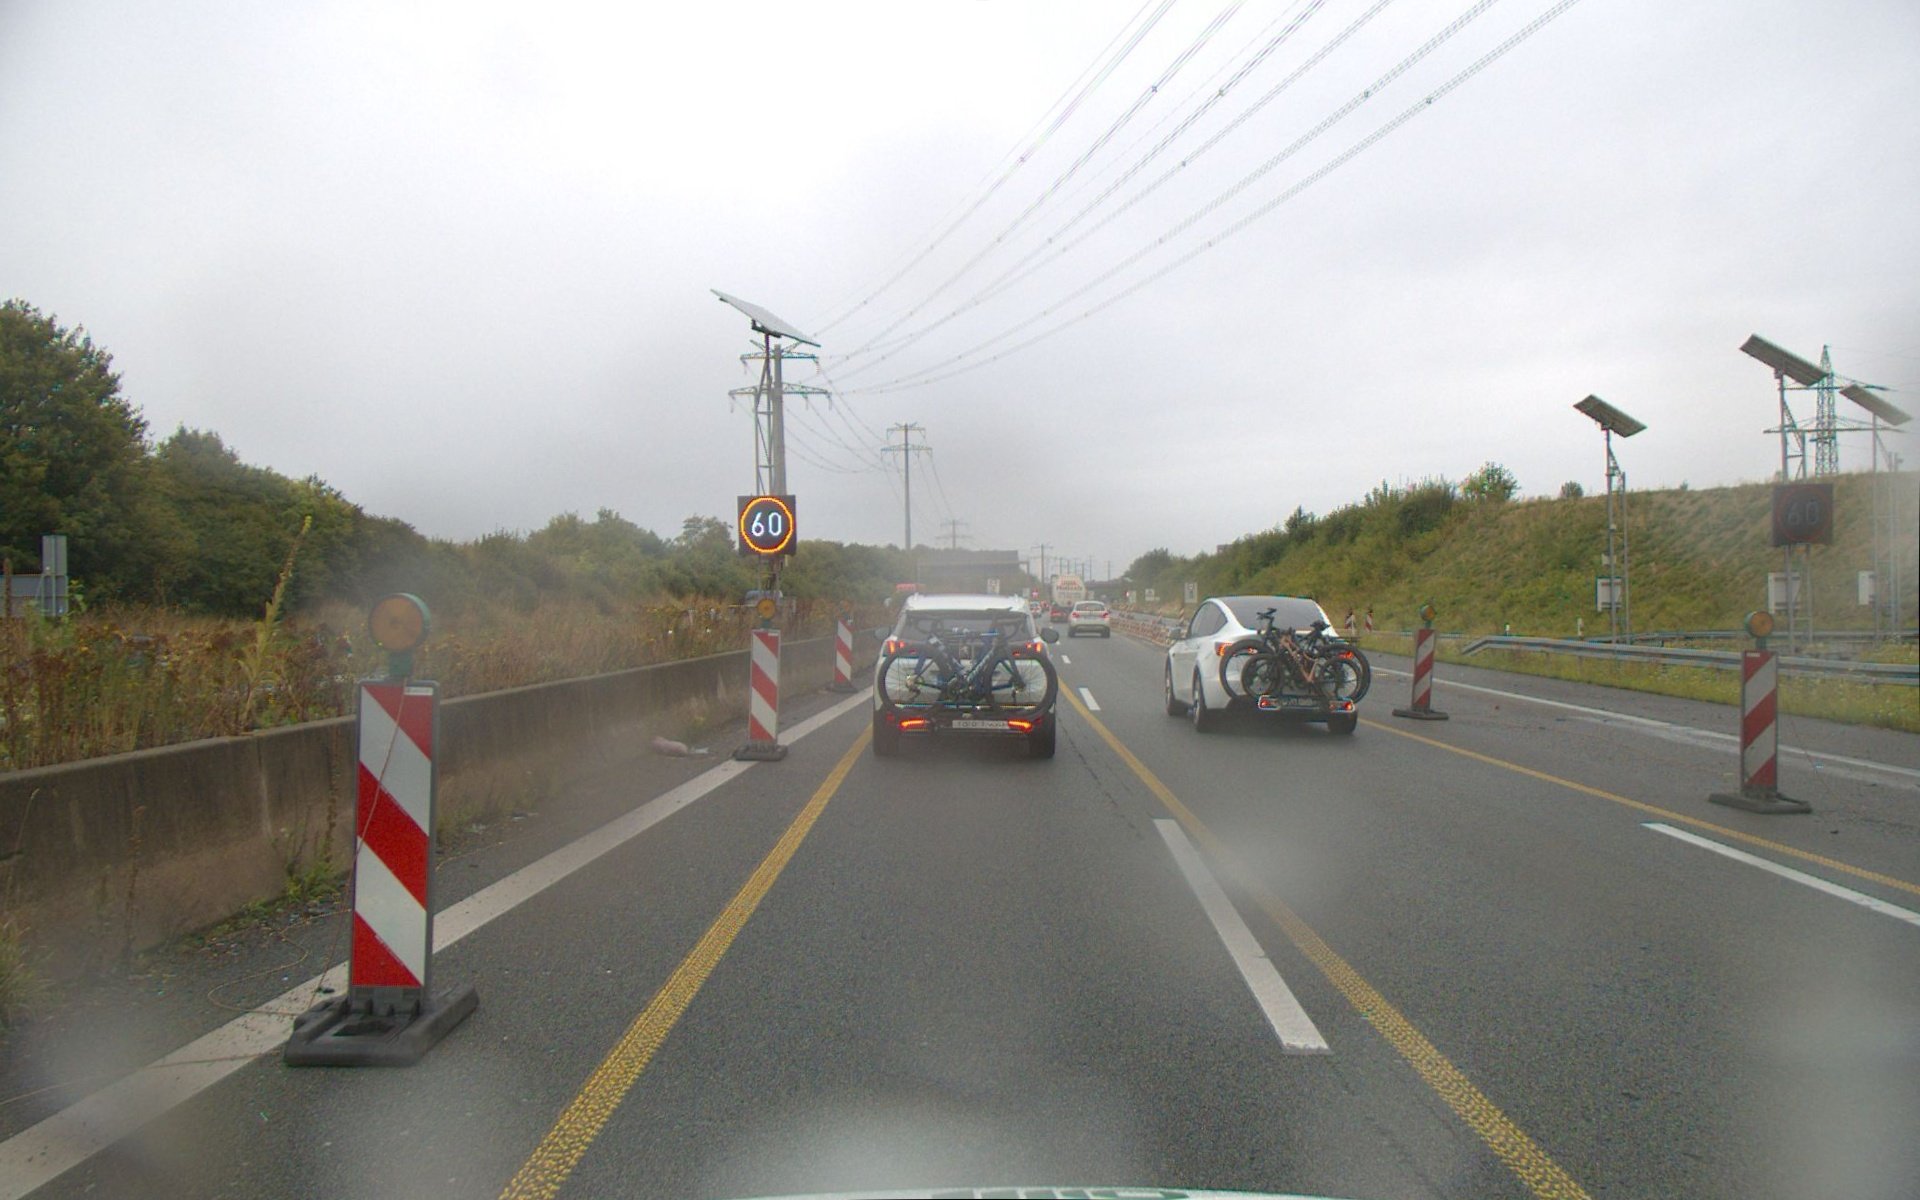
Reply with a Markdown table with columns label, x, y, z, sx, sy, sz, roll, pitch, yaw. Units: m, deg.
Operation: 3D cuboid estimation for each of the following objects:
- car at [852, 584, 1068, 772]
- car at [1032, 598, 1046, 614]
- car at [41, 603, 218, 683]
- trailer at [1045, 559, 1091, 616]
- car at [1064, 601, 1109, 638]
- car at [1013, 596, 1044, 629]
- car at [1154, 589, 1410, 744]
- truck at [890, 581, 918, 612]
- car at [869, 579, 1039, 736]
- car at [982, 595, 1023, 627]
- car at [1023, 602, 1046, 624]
| label | x | y | z | sx | sy | sz | roll | pitch | yaw |
| --- | --- | --- | --- | --- | --- | --- | --- | --- | --- |
| car | 0.069 | 0.687 | 16.844 | 1.888 | 1.639 | 4.596 | 0 | 0 | 2 |
| car | 10.122 | 0.727 | 211.722 | 1.619 | 2.049 | 4.002 | 0 | 0 | 3 |
| car | -23.787 | 1.197 | 47.512 | 1.660 | 2.147 | 4.273 | -2 | 0 | 32 |
| trailer | 7.944 | -0.847 | 123.035 | 2.584 | 3.961 | 10.541 | 1 | -1 | -1 |
| car | 5.471 | 0.815 | 71.834 | 1.831 | 1.561 | 4.198 | 0 | 0 | 3 |
| car | 4.676 | 0.829 | 113.544 | 1.953 | 2.048 | 4.001 | 1 | 3 | -1 |
| car | 3.791 | 0.724 | 20.624 | 2.004 | 1.624 | 5.800 | 1 | 0 | -1 |
| truck | -6.745 | -0.437 | 199.345 | 2.961 | 3.593 | 4.927 | 1 | -1 | 1 |
| car | -0.032 | 0.660 | 21.308 | 1.952 | 1.791 | 4.001 | -1 | 0 | 1 |
| car | 2.176 | 0.561 | 84.804 | 1.953 | 1.611 | 3.999 | 0 | 0 | -1 |
| car | 7.117 | 1.230 | 158.315 | 1.953 | 2.049 | 3.999 | 1 | -1 | -1 |
